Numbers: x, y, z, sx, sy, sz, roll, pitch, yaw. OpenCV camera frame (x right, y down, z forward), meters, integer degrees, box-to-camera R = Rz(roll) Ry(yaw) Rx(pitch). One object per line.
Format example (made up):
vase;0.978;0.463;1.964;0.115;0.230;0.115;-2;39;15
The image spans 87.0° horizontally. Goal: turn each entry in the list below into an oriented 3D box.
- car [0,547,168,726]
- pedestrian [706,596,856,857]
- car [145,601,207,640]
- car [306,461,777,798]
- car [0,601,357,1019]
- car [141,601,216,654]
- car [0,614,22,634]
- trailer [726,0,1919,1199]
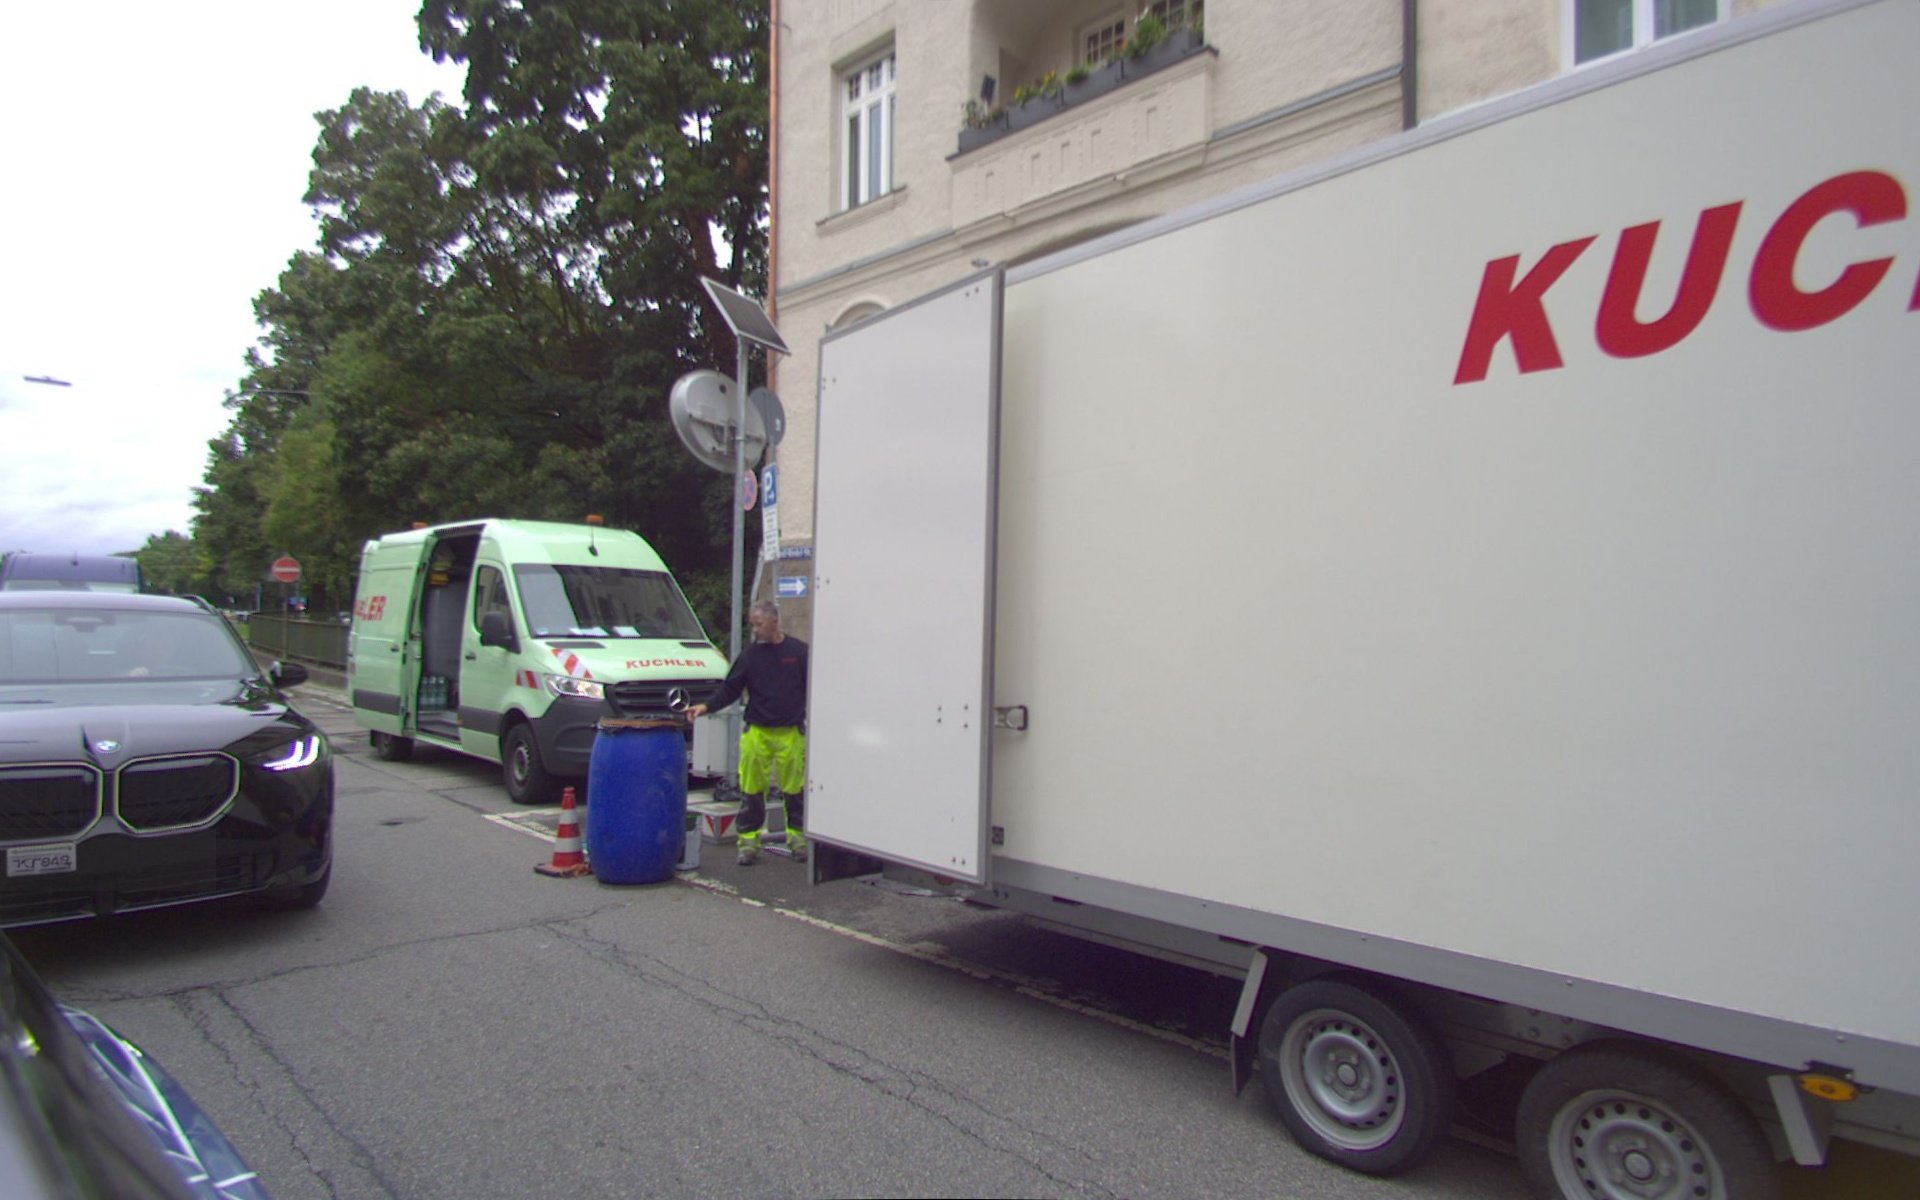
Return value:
car;-14.758;0.513;17.010;1.974;2.510;6.248;1;-1;-36
pedestrian;-1.164;0.780;6.679;0.634;1.592;0.757;0;-2;26
car;-33.947;0.912;43.926;1.789;1.474;4.174;7;-5;-35
car;-4.866;0.288;10.898;6.796;2.592;2.117;-1;-2;44
car;-4.912;0.803;5.574;1.893;1.577;4.299;2;-2;-42
car;-26.607;0.939;34.544;1.789;1.601;4.173;7;-5;-36
car;-71.628;1.779;75.805;1.810;1.409;4.006;3;-3;-41
trailer;2.644;0.078;2.913;2.771;2.992;7.603;6;-6;-45
